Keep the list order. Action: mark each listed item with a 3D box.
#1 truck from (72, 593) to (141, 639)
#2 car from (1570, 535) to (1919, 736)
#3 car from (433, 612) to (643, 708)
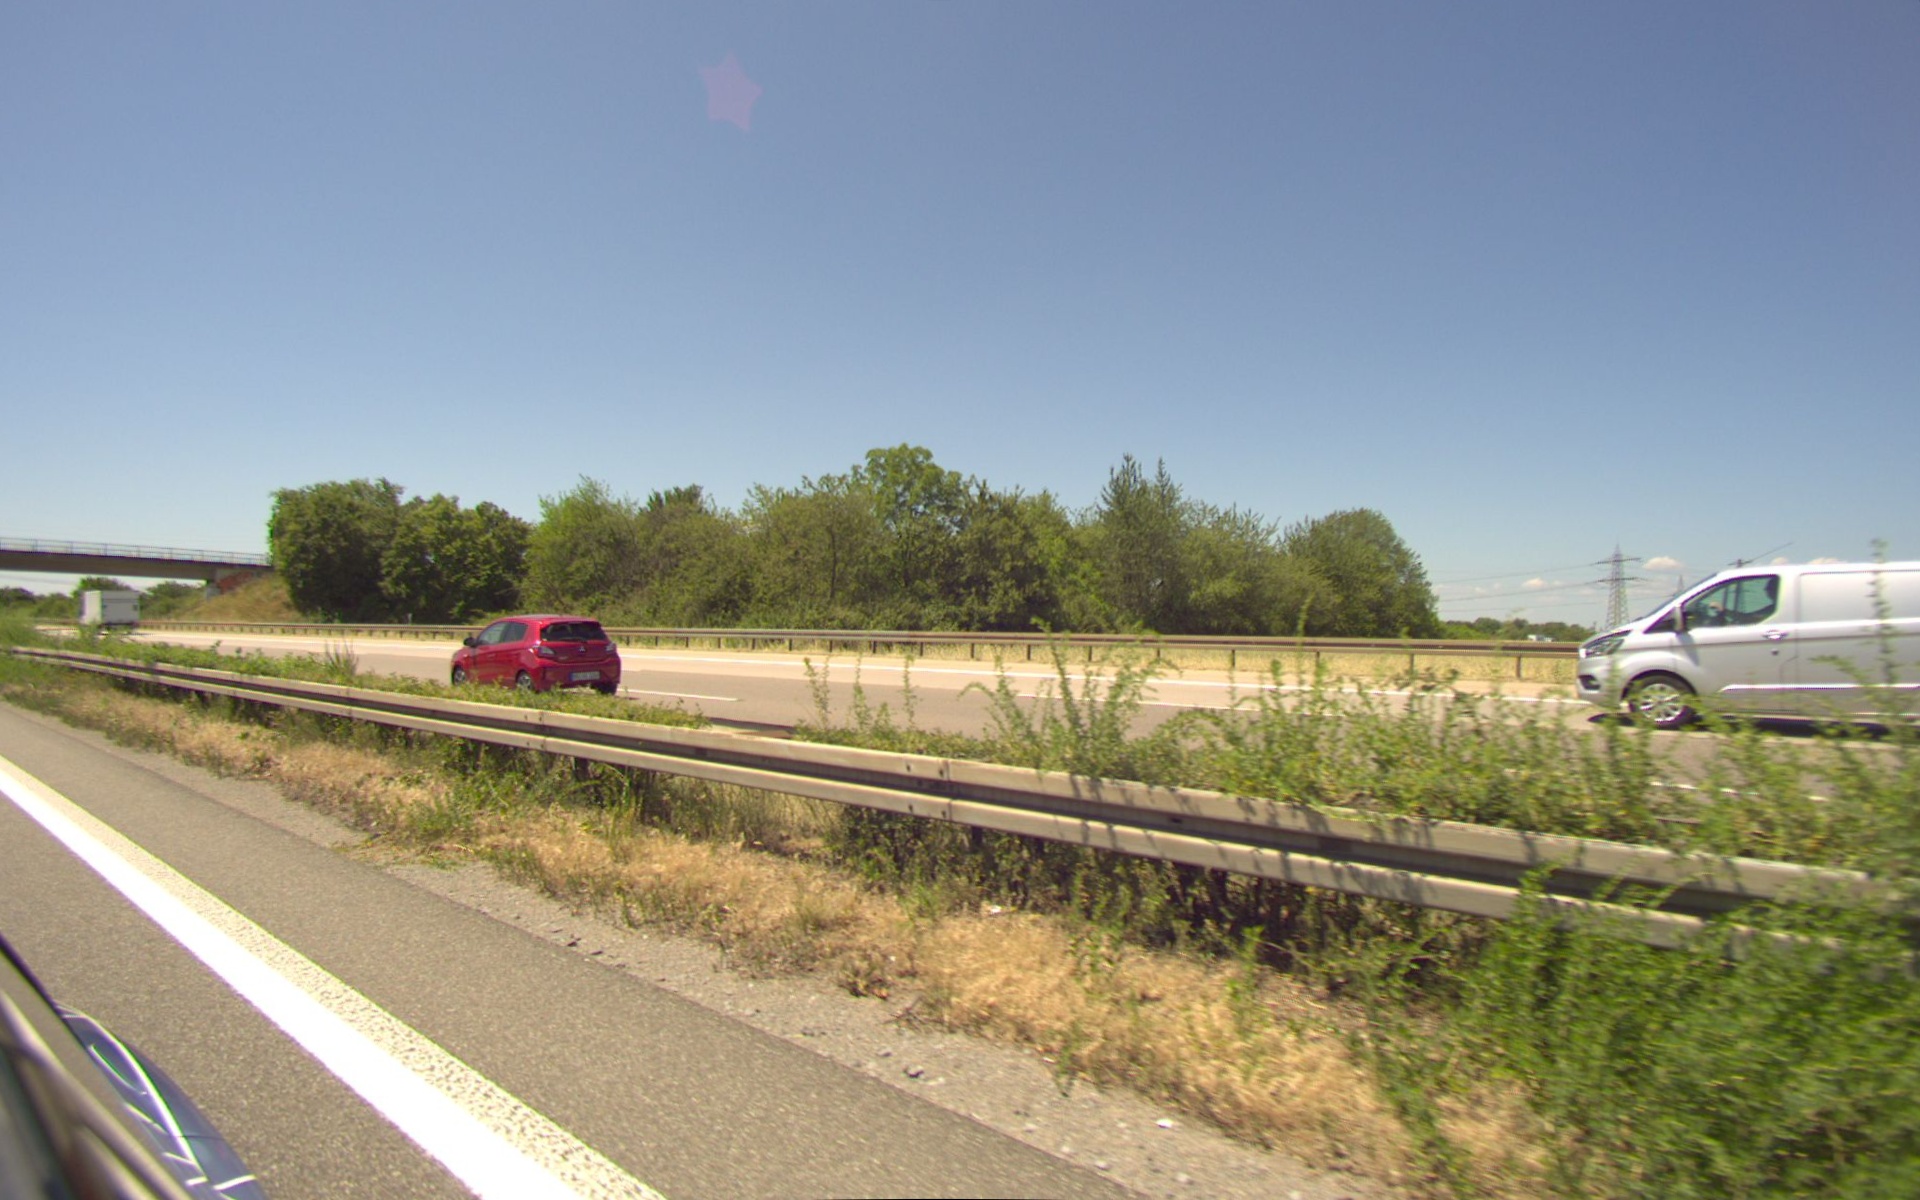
[{"bbox_3d":[-60.424,1.132,71.607,6.982,3.122,2.428,-1,-1,39],"label":"truck"},{"bbox_3d":[10.312,0.387,11.614,5.407,2.086,2.036,-1,-1,42],"label":"car"},{"bbox_3d":[-7.522,0.980,17.879,4.134,1.503,1.677,-1,-1,39],"label":"car"}]
